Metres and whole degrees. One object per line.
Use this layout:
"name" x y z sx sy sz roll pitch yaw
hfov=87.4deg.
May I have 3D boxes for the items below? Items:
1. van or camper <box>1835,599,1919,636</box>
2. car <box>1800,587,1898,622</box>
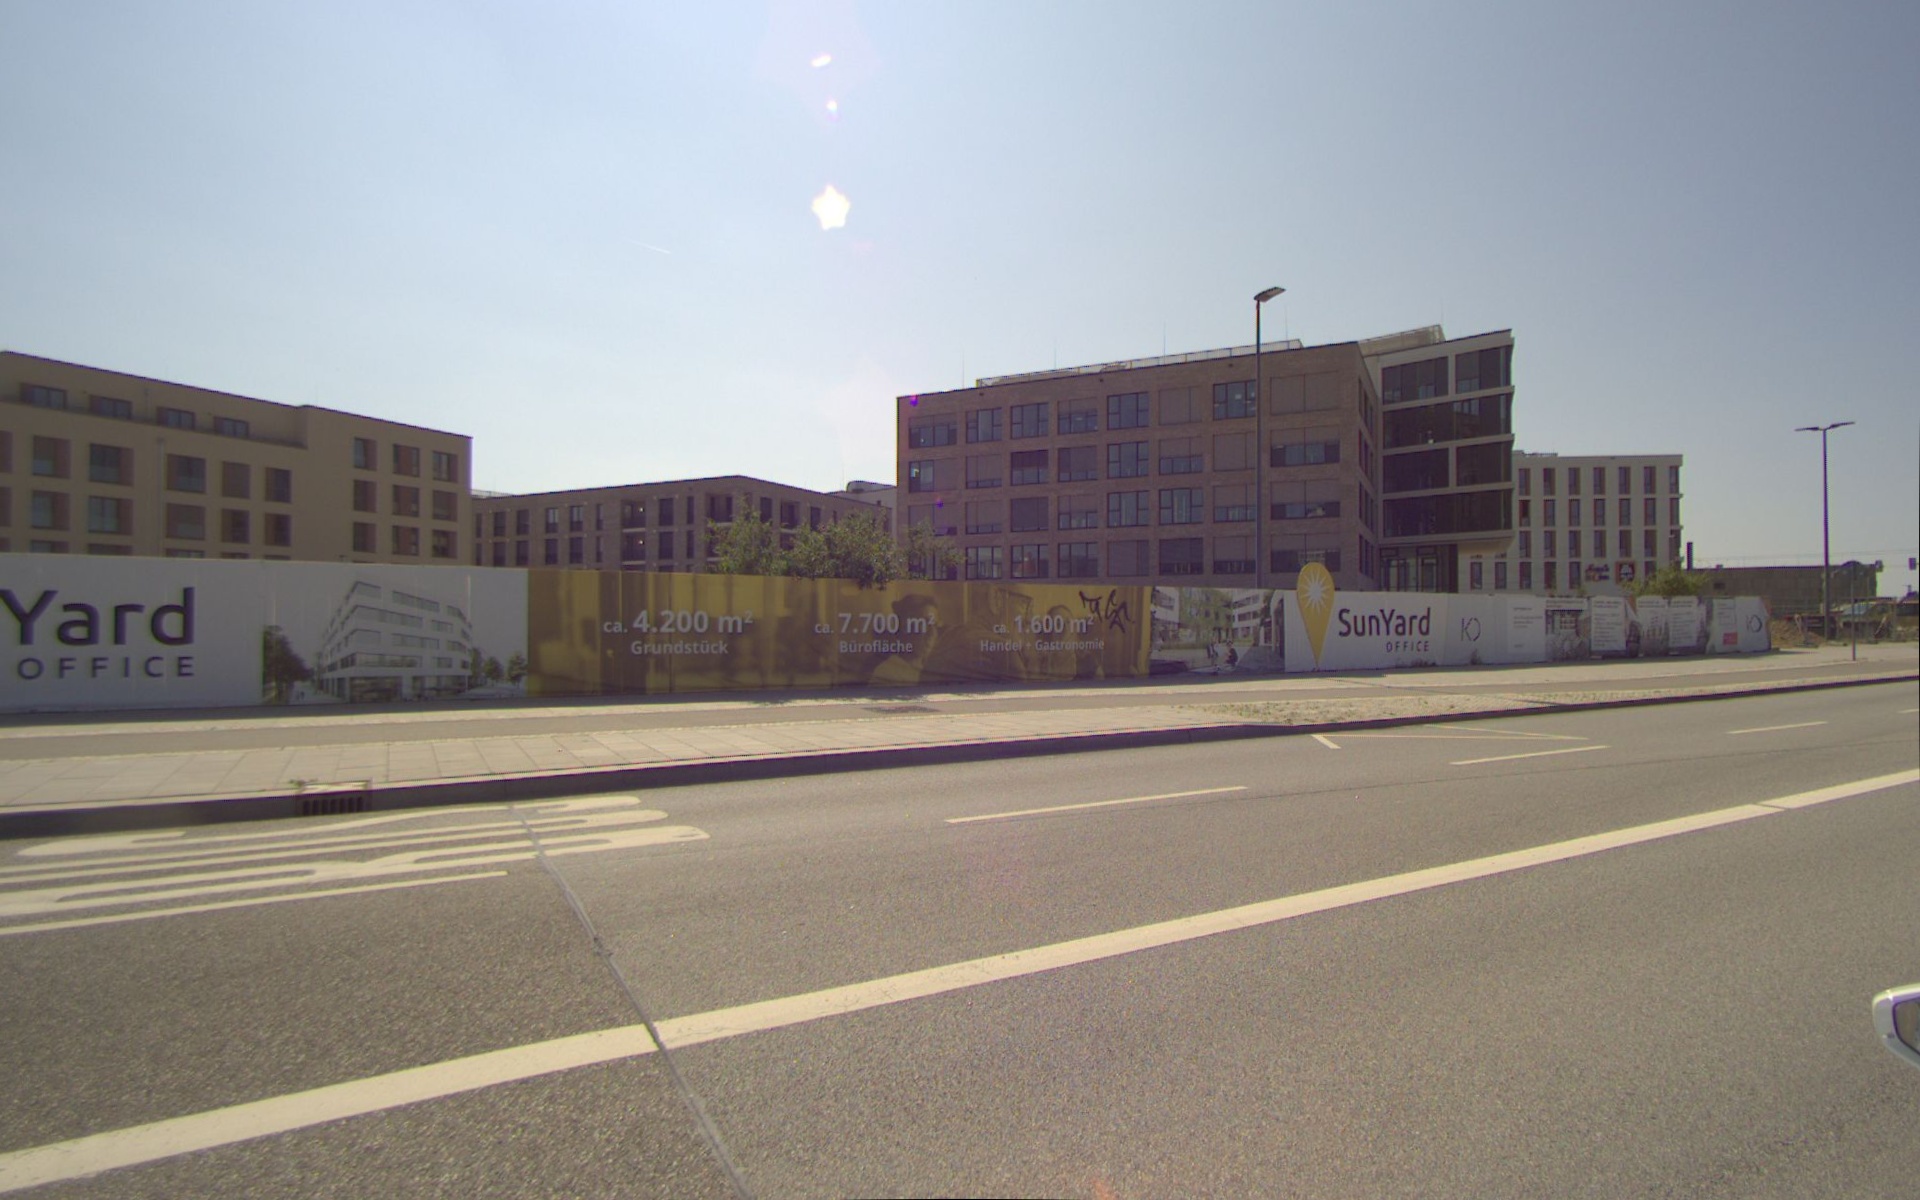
"van or camper" 52.523 0.988 56.435 4.622 1.922 2.001 2 -1 13
"car" 53.015 0.298 59.954 3.919 2.040 2.001 0 0 9
